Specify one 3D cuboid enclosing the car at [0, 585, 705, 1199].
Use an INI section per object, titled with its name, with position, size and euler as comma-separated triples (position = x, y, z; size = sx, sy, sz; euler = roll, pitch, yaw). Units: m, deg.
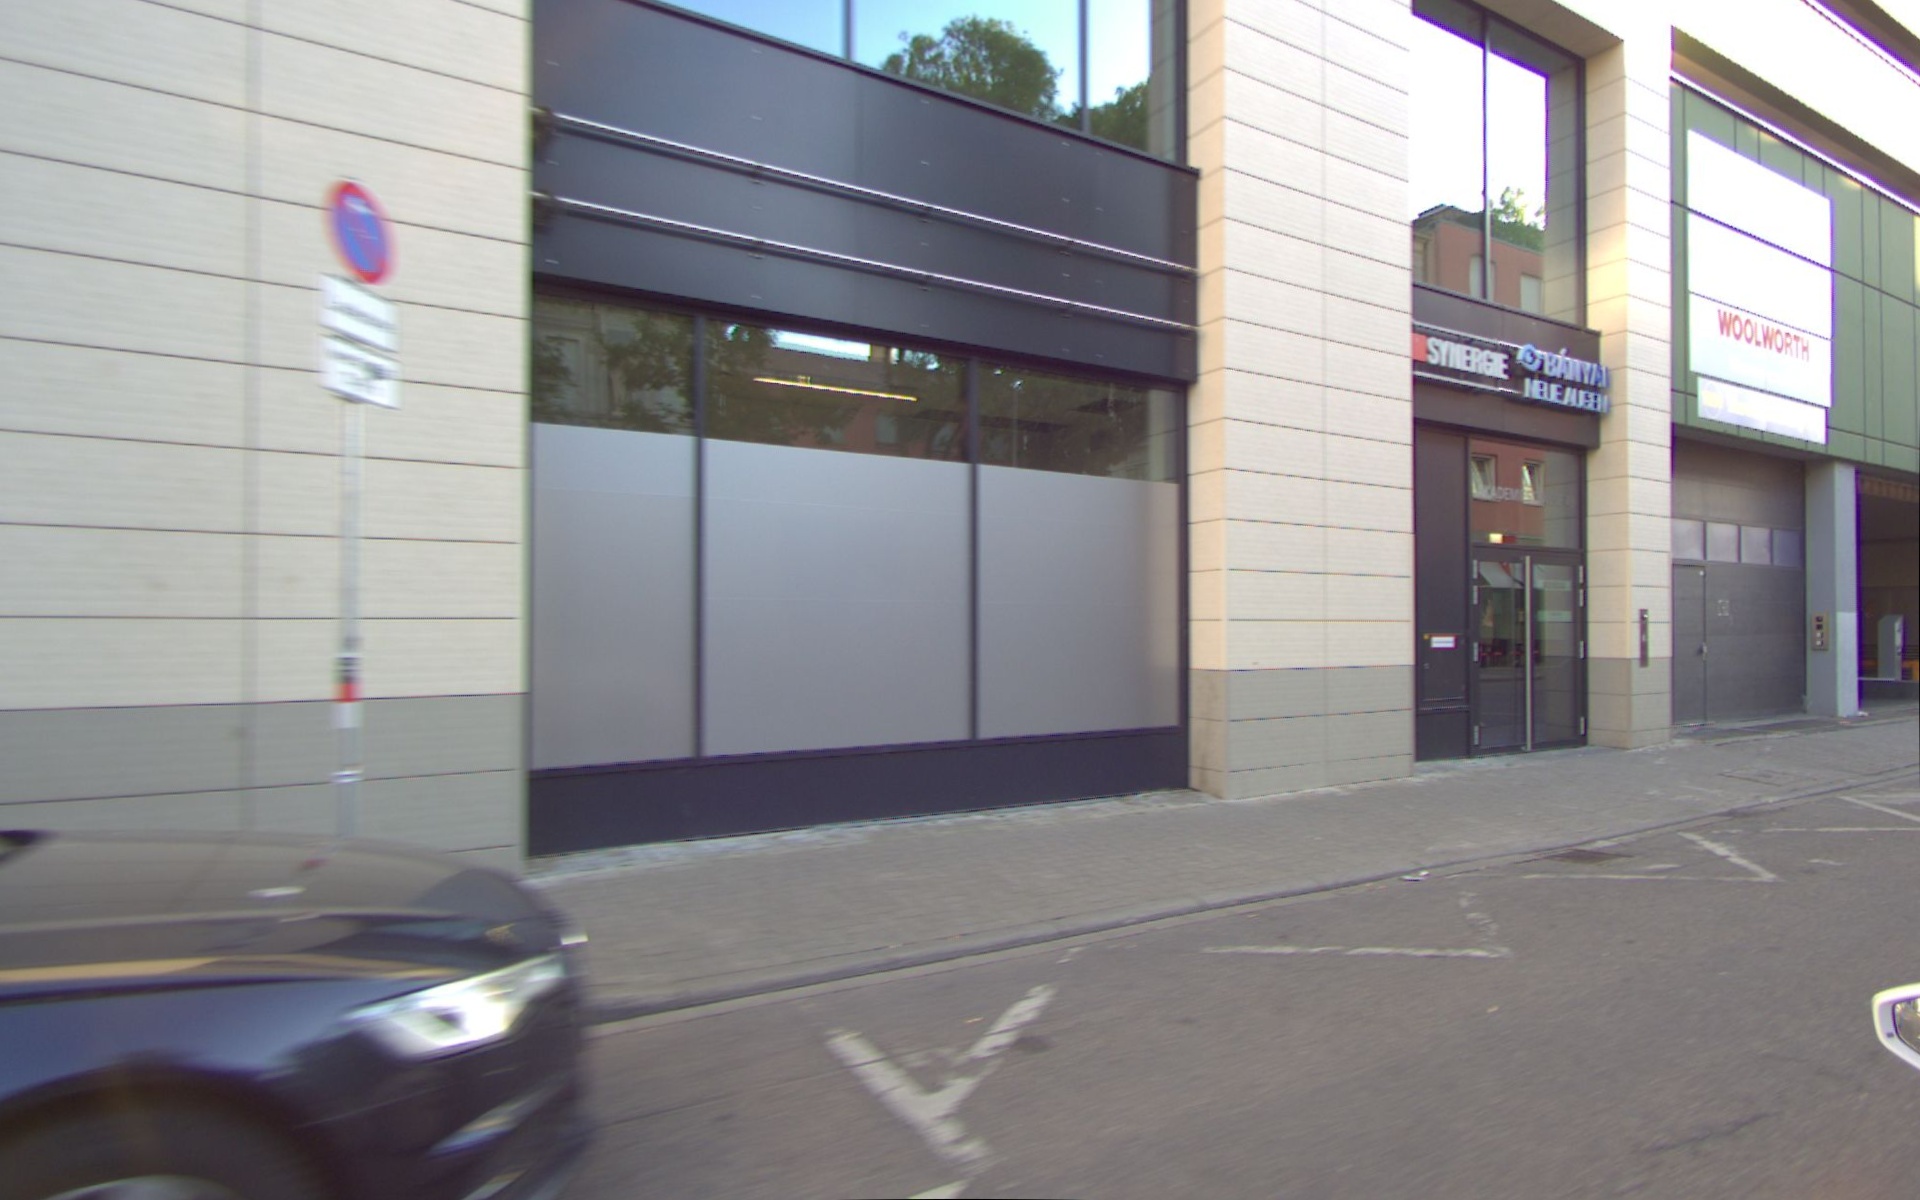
[car]
position = -2.979, 0.792, 1.733
size = 4.631, 1.619, 1.876
euler = 1, -1, -28
